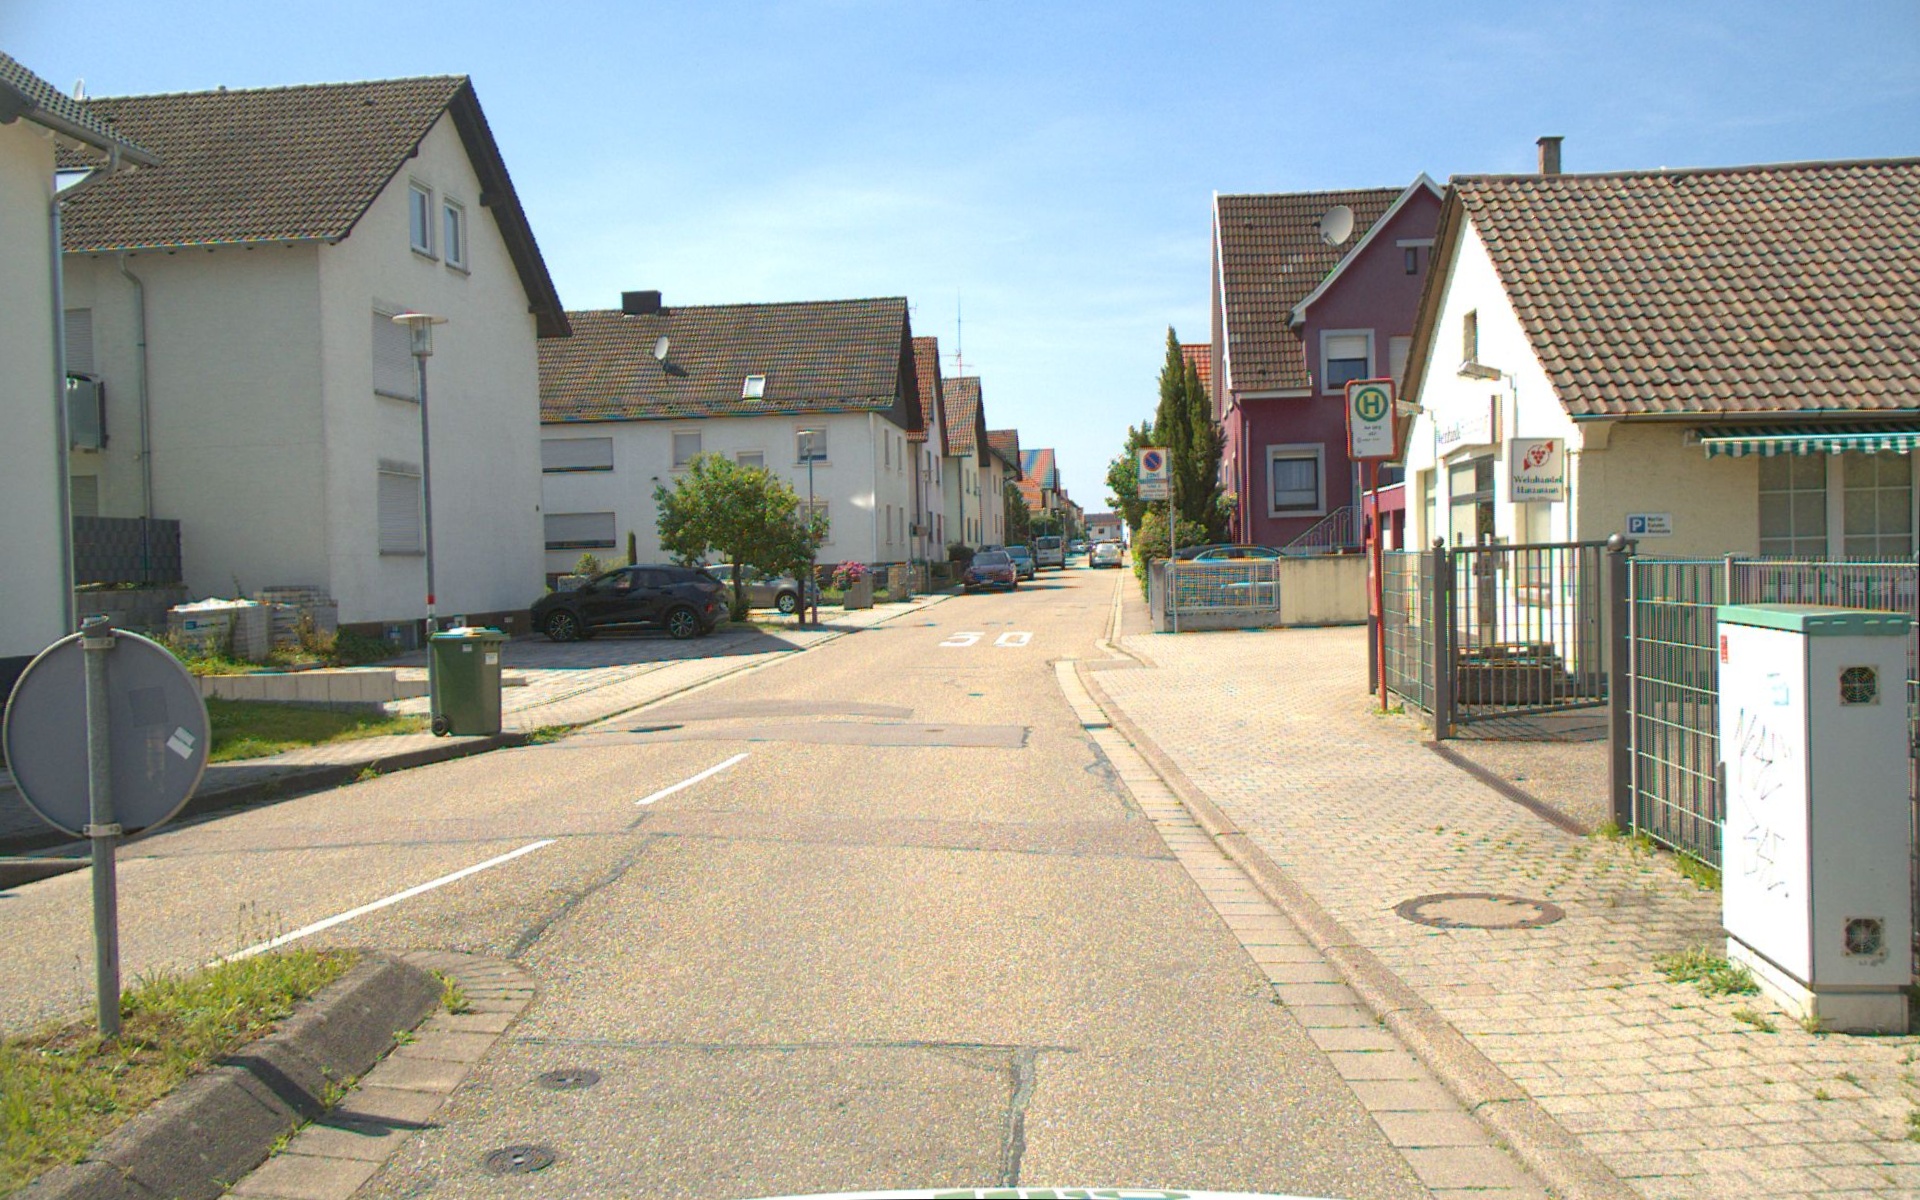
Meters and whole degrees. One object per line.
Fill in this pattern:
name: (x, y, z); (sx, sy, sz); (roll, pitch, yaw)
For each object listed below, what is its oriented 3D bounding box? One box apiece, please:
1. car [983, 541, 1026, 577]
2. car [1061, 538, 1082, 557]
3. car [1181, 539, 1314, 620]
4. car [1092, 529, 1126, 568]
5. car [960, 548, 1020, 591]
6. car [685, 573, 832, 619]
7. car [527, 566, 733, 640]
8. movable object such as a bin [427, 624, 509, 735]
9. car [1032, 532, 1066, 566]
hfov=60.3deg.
car: (2.069, -1.921, 78.301); (1.885, 1.632, 4.000); (-1, 1, 0)
car: (11.761, -5.492, 173.927); (1.912, 1.845, 4.003); (0, 0, 8)
car: (6.180, -0.434, 35.722); (2.686, 1.625, 1.172); (-2, 0, 5)
car: (8.849, -3.024, 97.976); (1.910, 2.109, 4.002); (-2, 0, 5)
car: (1.186, -1.188, 63.725); (1.951, 1.580, 4.003); (-1, 1, 6)
car: (-5.762, -0.129, 47.526); (3.904, 1.211, 1.841); (-1, 1, 3)
car: (-6.860, 0.048, 34.612); (3.904, 1.407, 1.661); (-1, 1, 3)
movable object such as a bin: (-5.037, 0.812, 16.953); (0.631, 1.102, 0.459); (-1, 1, 13)
car: (5.395, -3.057, 99.731); (1.812, 1.818, 4.003); (-2, 0, 5)
